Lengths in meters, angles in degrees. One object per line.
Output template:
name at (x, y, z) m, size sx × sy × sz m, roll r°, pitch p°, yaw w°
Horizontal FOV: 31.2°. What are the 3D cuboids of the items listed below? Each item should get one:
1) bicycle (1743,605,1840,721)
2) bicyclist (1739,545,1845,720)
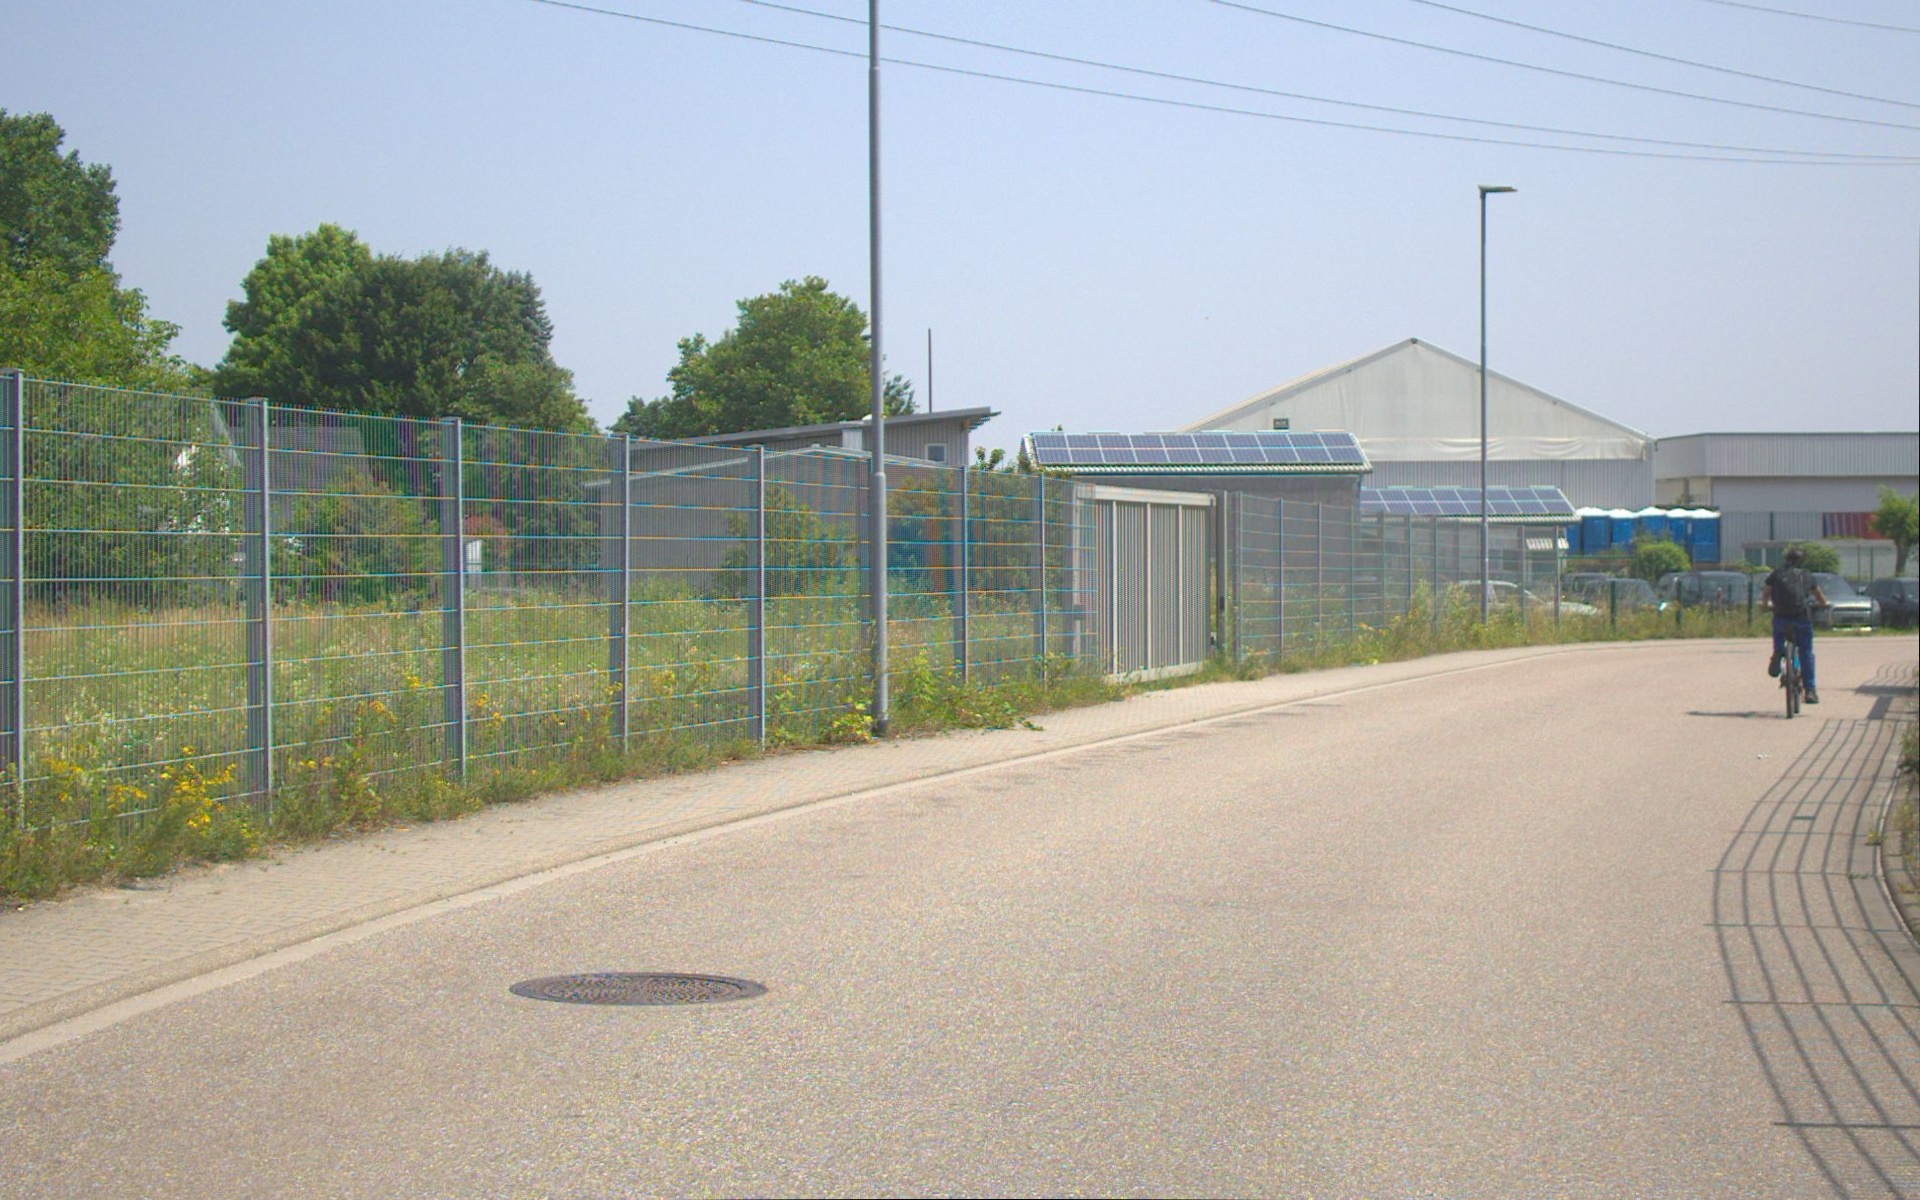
bicycle at (7.986, 0.586, 32.971) m, size 0.685 × 1.048 × 1.899 m, roll 2°, pitch 1°, yaw 20°
bicyclist at (7.982, 0.293, 32.950) m, size 0.843 × 1.613 × 1.038 m, roll 2°, pitch 2°, yaw 20°
